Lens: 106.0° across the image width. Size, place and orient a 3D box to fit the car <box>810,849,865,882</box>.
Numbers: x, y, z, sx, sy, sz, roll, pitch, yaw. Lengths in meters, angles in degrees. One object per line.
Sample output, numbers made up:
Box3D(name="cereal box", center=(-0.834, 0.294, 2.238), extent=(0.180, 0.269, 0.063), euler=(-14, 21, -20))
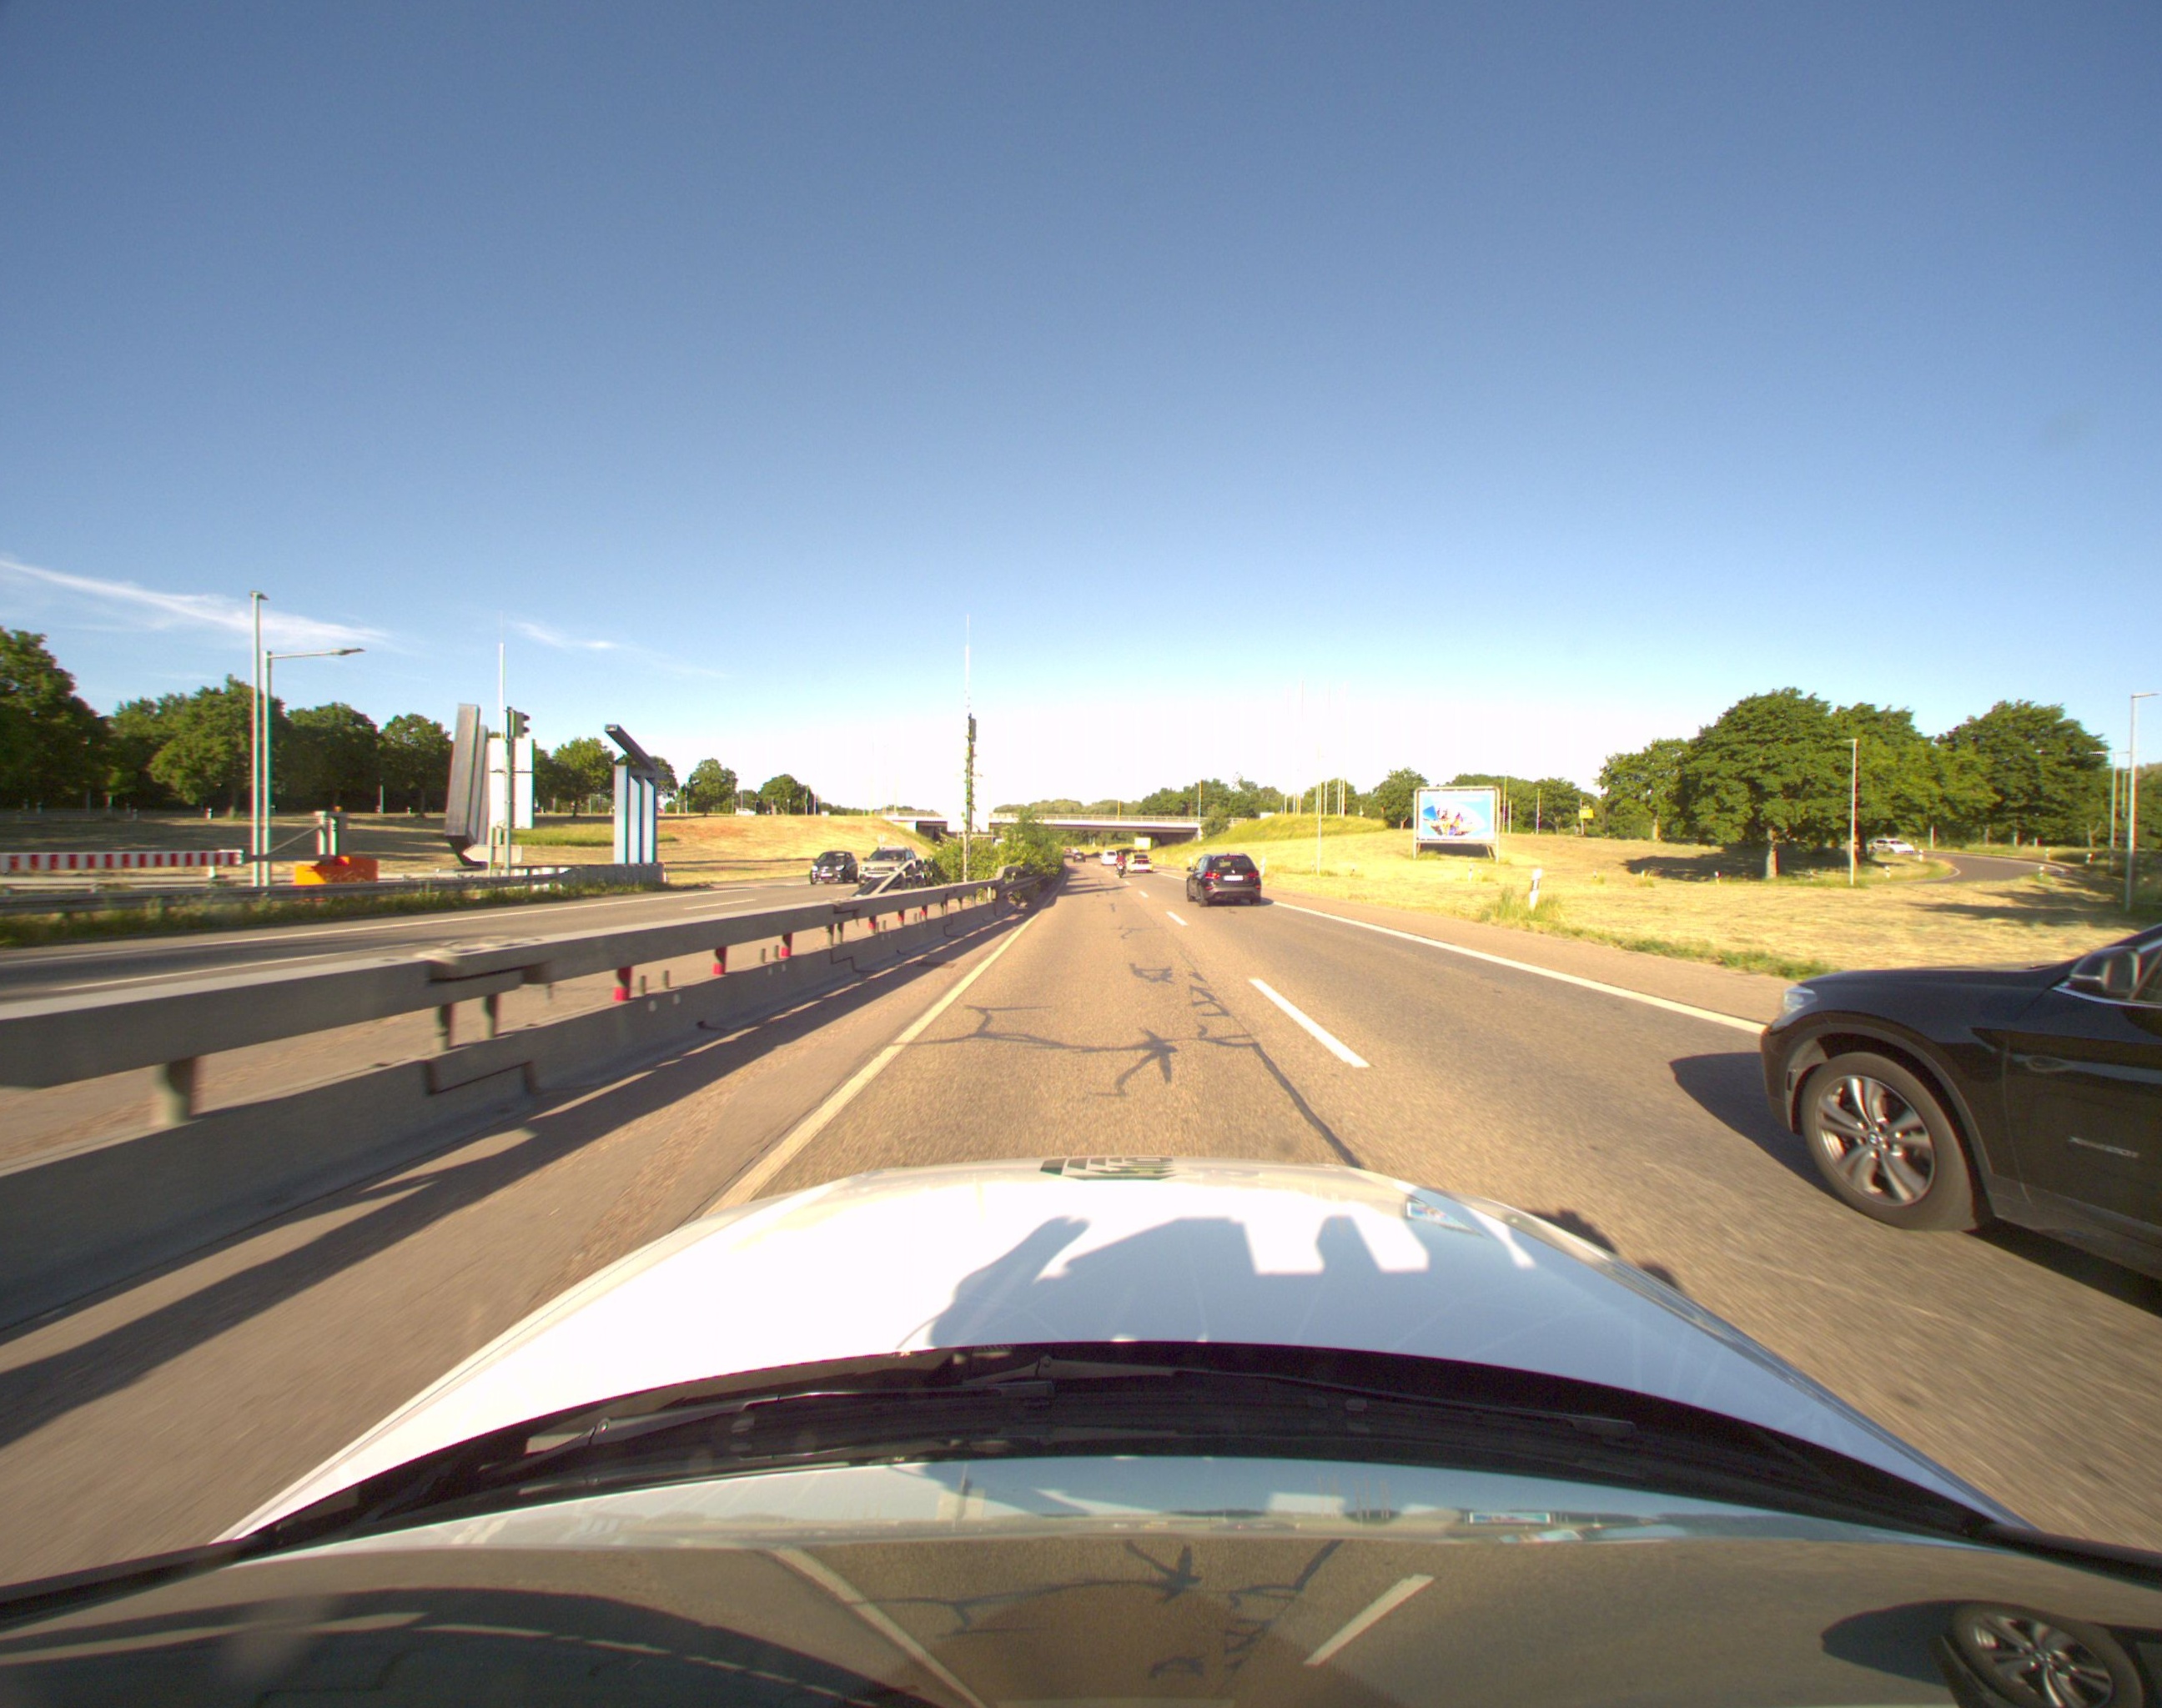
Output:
Box3D(name="car", center=(-11.458, 0.530, 38.557), extent=(1.604, 1.485, 3.391), euler=(-1, 0, -1))

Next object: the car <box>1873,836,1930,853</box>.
Box3D(name="car", center=(82.368, -0.952, 81.842), extent=(1.855, 1.691, 4.004), euler=(-1, 1, 3))

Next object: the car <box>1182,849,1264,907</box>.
Box3D(name="car", center=(4.216, 0.649, 24.834), extent=(1.693, 1.506, 4.579), euler=(-2, 1, 0))

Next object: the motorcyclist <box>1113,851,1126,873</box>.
Box3D(name="motorcyclist", center=(2.492, 0.511, 52.968), extent=(0.813, 1.447, 1.094), euler=(0, 0, 2))

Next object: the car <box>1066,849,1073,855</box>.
Box3D(name="car", center=(-3.138, -0.564, 225.301), extent=(1.862, 1.685, 4.001), euler=(1, 0, 1))

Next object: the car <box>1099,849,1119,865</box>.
Box3D(name="car", center=(3.260, 0.355, 95.605), extent=(1.893, 1.767, 3.995), euler=(-2, 0, -3))

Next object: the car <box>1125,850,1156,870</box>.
Box3D(name="car", center=(4.648, 0.461, 64.132), extent=(1.893, 1.471, 3.995), euler=(-1, 0, -4))

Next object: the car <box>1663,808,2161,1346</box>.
Box3D(name="car", center=(4.015, 0.626, 2.131), extent=(1.749, 1.573, 4.521), euler=(-2, 0, 0))

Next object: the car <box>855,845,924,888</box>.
Box3D(name="car", center=(-7.398, 0.440, 31.820), extent=(1.711, 1.575, 4.162), euler=(-1, 0, 0))

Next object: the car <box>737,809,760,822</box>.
Box3D(name="car", center=(-71.456, -8.268, 175.149), extent=(4.273, 2.805, 2.091), euler=(1, 1, 20))

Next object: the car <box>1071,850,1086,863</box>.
Box3D(name="car", center=(-0.394, 0.365, 116.418), extent=(1.894, 1.767, 3.993), euler=(-1, 1, -5))

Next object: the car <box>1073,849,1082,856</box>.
Box3D(name="car", center=(-0.878, -0.333, 207.196), extent=(1.862, 1.685, 4.002), euler=(1, 0, 2))

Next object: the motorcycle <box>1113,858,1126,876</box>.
Box3D(name="motorcycle", center=(2.491, 0.831, 52.900), extent=(0.813, 1.069, 2.838), euler=(0, 1, 3))
